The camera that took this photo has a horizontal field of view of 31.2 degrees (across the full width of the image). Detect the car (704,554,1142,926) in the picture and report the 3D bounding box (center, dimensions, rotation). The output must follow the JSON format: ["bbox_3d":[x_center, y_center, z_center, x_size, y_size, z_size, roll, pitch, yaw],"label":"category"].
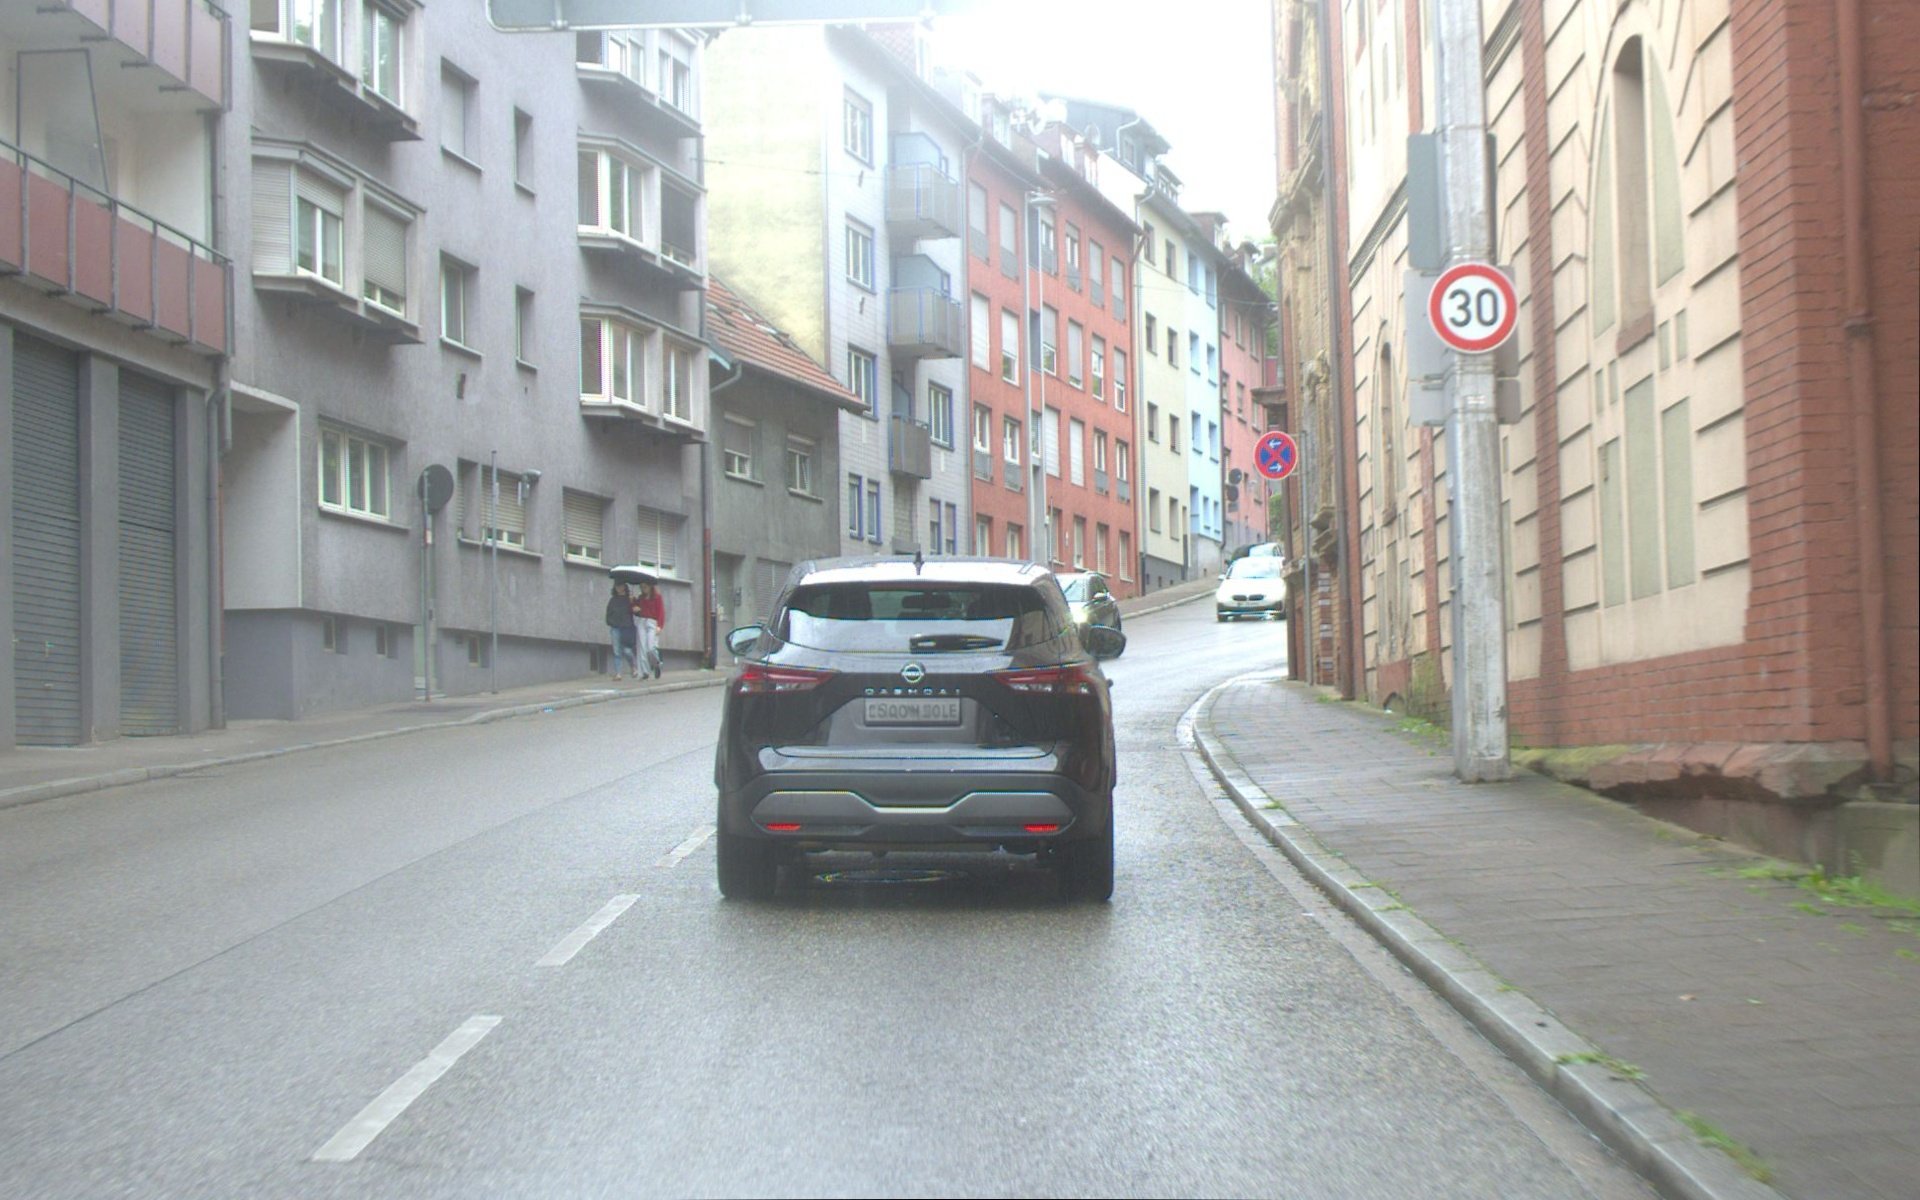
[{"bbox_3d":[-0.176,0.603,16.915,1.881,1.588,3.921,1,0,0],"label":"car"}]

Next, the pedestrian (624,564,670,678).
[{"bbox_3d":[-4.977,0.334,54.619,0.523,1.770,0.622,-3,1,7],"label":"pedestrian"}]

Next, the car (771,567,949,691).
[{"bbox_3d":[-1.382,0.385,49.175,1.765,1.652,3.986,-2,0,10],"label":"car"}]

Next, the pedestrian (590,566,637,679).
[{"bbox_3d":[-5.513,0.355,54.693,0.523,1.770,0.622,-3,1,7],"label":"pedestrian"}]

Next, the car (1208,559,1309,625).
[{"bbox_3d":[7.710,-0.216,88.609,1.765,1.571,4.033,-3,0,16],"label":"car"}]

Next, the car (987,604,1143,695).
[{"bbox_3d":[1.905,0.892,61.280,1.795,1.505,3.997,-2,-2,16],"label":"car"}]
